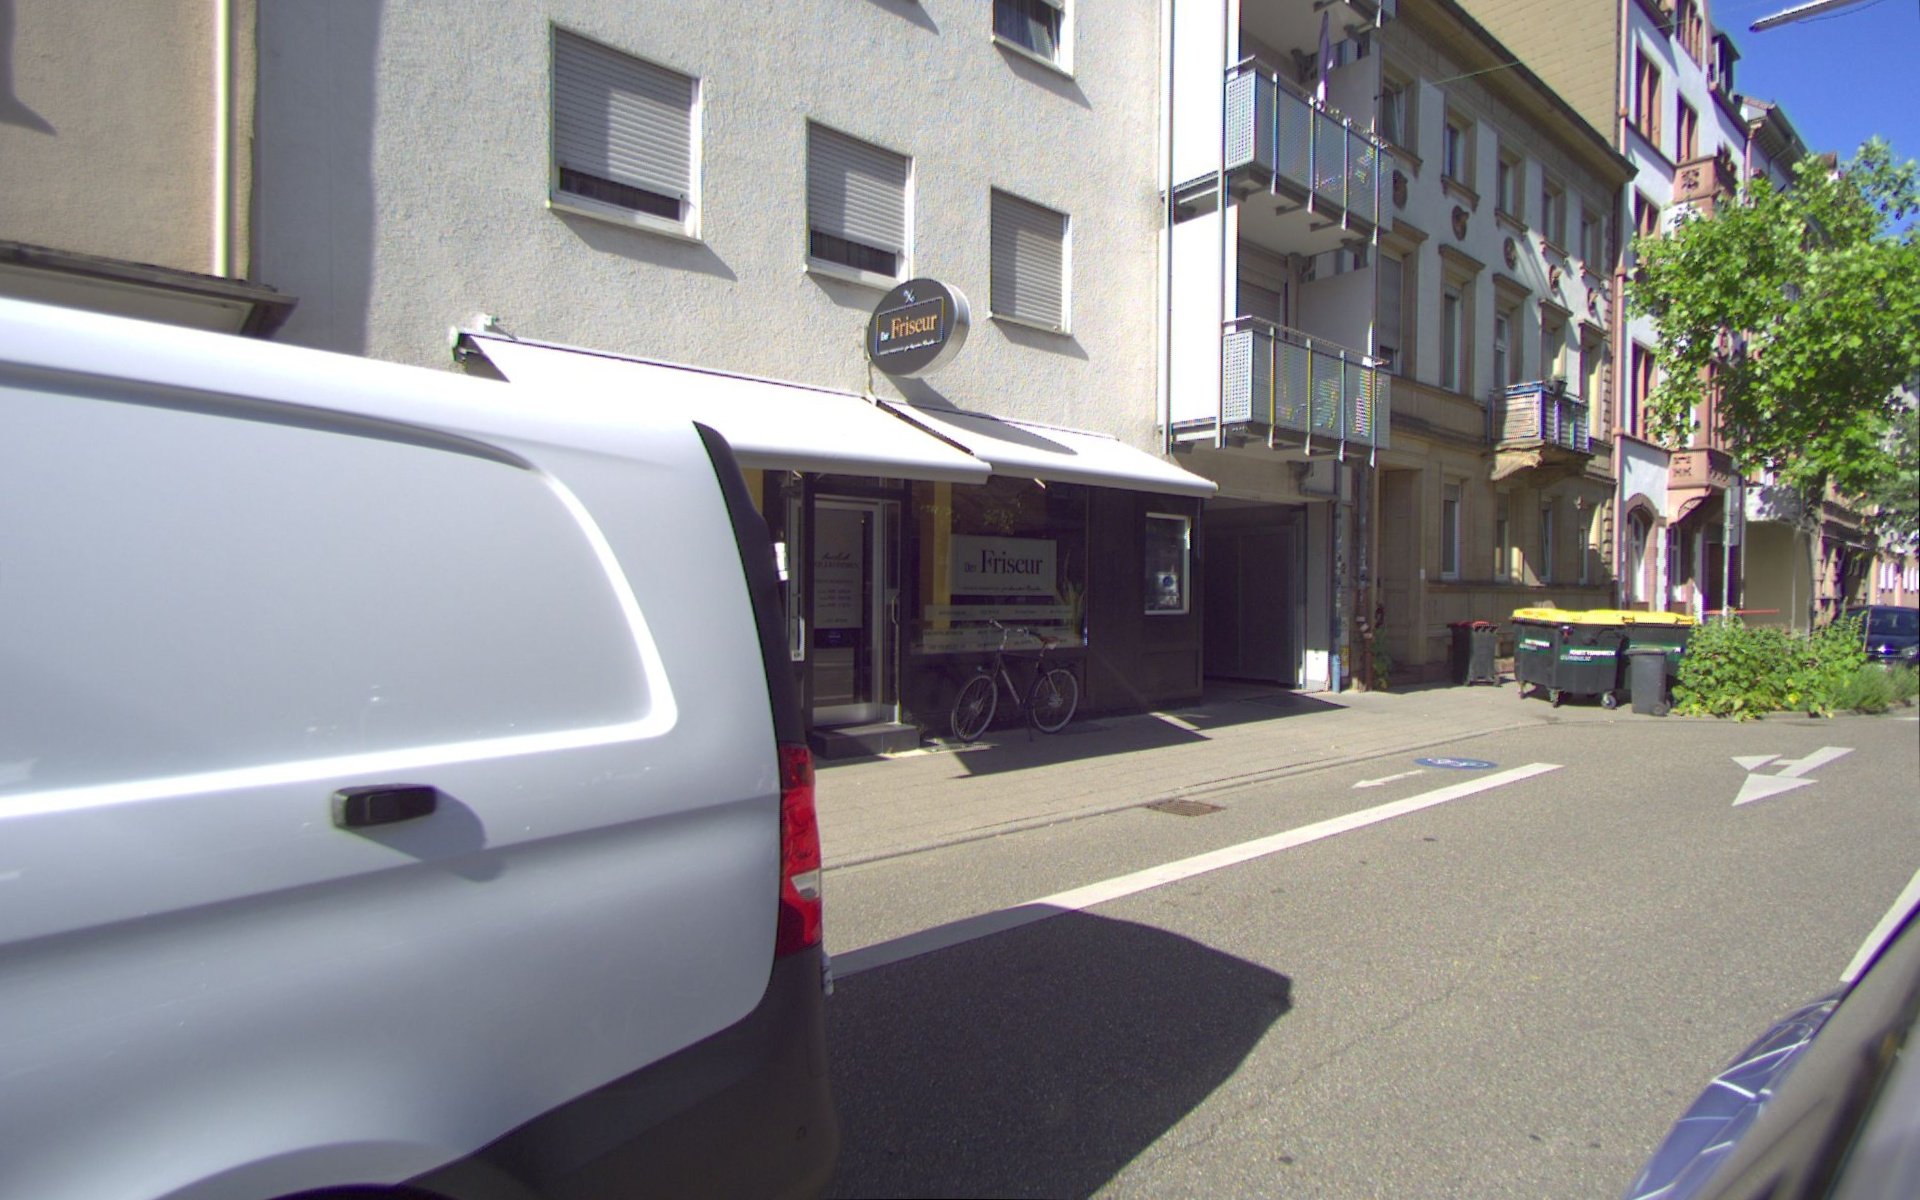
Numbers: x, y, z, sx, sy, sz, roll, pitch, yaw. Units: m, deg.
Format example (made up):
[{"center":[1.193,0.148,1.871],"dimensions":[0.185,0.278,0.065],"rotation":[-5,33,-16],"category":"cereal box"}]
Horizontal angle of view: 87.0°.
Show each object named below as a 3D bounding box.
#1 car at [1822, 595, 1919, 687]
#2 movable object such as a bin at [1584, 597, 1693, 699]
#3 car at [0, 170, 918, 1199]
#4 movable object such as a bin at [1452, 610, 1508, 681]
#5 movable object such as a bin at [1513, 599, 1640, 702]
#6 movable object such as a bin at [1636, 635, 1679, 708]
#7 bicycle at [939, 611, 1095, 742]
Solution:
[{"center":[16.834,0.669,18.214],"dimensions":[3.293,1.510,1.550],"rotation":[0,1,-41],"category":"car"},{"center":[9.955,0.681,14.901],"dimensions":[0.943,1.364,1.066],"rotation":[1,3,11],"category":"movable object such as a bin"},{"center":[-2.506,0.500,0.885],"dimensions":[4.910,1.892,1.839],"rotation":[0,1,-42],"category":"car"},{"center":[8.529,0.736,16.624],"dimensions":[0.557,1.094,0.617],"rotation":[1,3,1],"category":"movable object such as a bin"},{"center":[8.839,0.696,14.578],"dimensions":[1.030,1.341,1.216],"rotation":[1,3,1],"category":"movable object such as a bin"},{"center":[9.568,0.968,13.887],"dimensions":[0.399,0.933,0.478],"rotation":[3,3,41],"category":"movable object such as a bin"},{"center":[0.600,0.716,10.104],"dimensions":[1.760,1.193,0.402],"rotation":[0,0,-41],"category":"bicycle"}]
